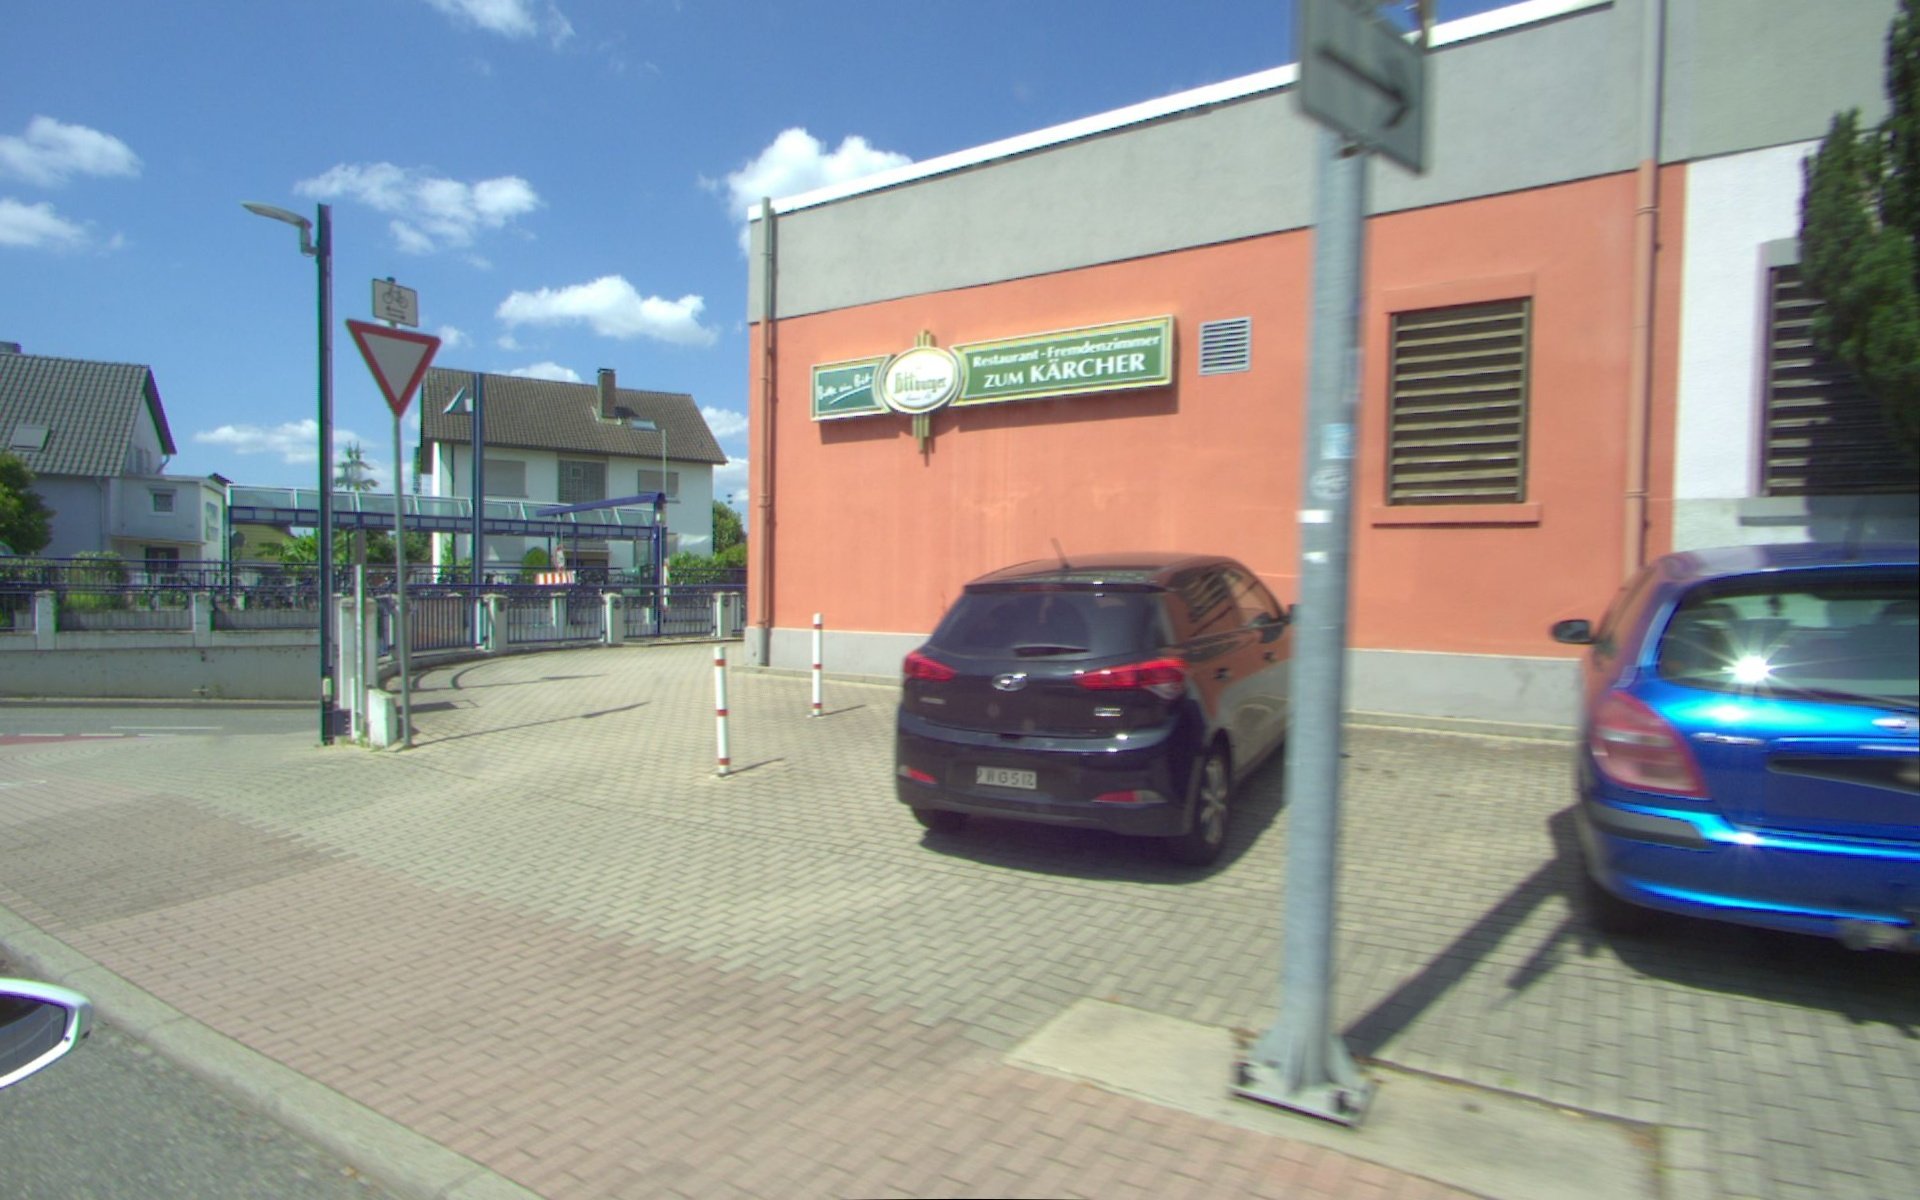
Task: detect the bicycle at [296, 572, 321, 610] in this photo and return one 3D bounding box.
[{"bbox_3d":[-17.838,-0.243,27.436,0.368,1.008,1.956,1,0,-27],"label":"bicycle"}]

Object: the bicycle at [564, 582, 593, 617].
[{"bbox_3d":[-11.458,-0.024,30.033,0.510,1.008,2.028,1,0,-29],"label":"bicycle"}]

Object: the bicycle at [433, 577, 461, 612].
[{"bbox_3d":[-15.187,-0.160,29.617,0.410,1.008,1.951,1,0,-36],"label":"bicycle"}]

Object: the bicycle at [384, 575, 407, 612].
[{"bbox_3d":[-16.329,-0.194,28.959,0.422,1.008,1.953,1,0,-33],"label":"bicycle"}]

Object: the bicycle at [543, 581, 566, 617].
[{"bbox_3d":[-11.873,-0.039,29.316,0.571,1.008,2.180,1,0,-23],"label":"bicycle"}]

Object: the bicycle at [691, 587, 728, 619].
[{"bbox_3d":[-8.173,0.079,32.578,0.538,1.008,2.026,1,0,-33],"label":"bicycle"}]

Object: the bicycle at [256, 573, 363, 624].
[{"bbox_3d":[-15.377,-0.032,23.704,2.097,1.141,0.389,2,0,-38],"label":"bicycle"}]

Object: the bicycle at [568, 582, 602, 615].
[{"bbox_3d":[-12.027,-0.061,32.098,0.514,1.008,1.951,1,0,-36],"label":"bicycle"}]

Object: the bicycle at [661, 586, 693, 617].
[{"bbox_3d":[-9.552,0.048,33.732,0.538,1.008,2.028,1,0,-30],"label":"bicycle"}]

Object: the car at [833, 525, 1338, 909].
[{"bbox_3d":[1.126,0.392,6.381,1.783,1.512,3.884,0,6,30],"label":"car"}]

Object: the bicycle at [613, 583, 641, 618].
[{"bbox_3d":[-10.240,0.013,30.782,0.509,1.008,2.029,1,0,-27],"label":"bicycle"}]

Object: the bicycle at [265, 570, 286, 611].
[{"bbox_3d":[-17.452,-0.243,25.525,0.329,1.008,2.059,1,0,-37],"label":"bicycle"}]

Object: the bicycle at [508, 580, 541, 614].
[{"bbox_3d":[-13.376,-0.105,30.731,0.514,1.008,1.951,1,0,-36],"label":"bicycle"}]

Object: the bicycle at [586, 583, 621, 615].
[{"bbox_3d":[-11.541,-0.046,32.422,0.514,1.008,1.951,1,0,-36],"label":"bicycle"}]

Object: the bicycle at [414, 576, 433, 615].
[{"bbox_3d":[-14.692,-0.125,27.452,0.430,1.008,2.270,1,0,-28],"label":"bicycle"}]

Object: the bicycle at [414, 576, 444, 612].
[{"bbox_3d":[-15.575,-0.172,29.346,0.469,1.008,1.951,1,0,-36],"label":"bicycle"}]

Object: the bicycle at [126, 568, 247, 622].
[{"bbox_3d":[-17.181,-0.088,22.297,2.097,1.141,0.330,2,0,-38],"label":"bicycle"}]

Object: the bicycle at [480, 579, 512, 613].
[{"bbox_3d":[-14.170,-0.127,30.563,0.514,1.008,1.788,1,0,-36],"label":"bicycle"}]

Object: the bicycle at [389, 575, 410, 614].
[{"bbox_3d":[-15.175,-0.140,27.133,0.430,1.008,2.270,1,0,-28],"label":"bicycle"}]

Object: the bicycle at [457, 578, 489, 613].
[{"bbox_3d":[-14.634,-0.142,30.063,0.514,1.008,1.951,1,0,-36],"label":"bicycle"}]

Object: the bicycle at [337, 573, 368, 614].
[{"bbox_3d":[-15.935,-0.165,26.289,0.430,1.008,2.094,1,0,-25],"label":"bicycle"}]

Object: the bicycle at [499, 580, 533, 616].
[{"bbox_3d":[-12.936,-0.068,29.145,0.527,1.008,2.173,1,0,-34],"label":"bicycle"}]

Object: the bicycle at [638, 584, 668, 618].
[{"bbox_3d":[-9.611,0.033,31.298,0.537,1.008,2.029,1,0,-27],"label":"bicycle"}]

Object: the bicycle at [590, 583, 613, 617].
[{"bbox_3d":[-10.921,-0.007,30.477,0.509,1.008,2.031,1,0,-24],"label":"bicycle"}]

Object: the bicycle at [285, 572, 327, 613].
[{"bbox_3d":[-16.663,-0.188,25.554,0.429,1.008,2.096,1,0,-20],"label":"bicycle"}]

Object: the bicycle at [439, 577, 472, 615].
[{"bbox_3d":[-14.025,-0.105,27.823,0.527,1.008,2.265,1,0,-34],"label":"bicycle"}]

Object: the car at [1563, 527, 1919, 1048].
[{"bbox_3d":[3.850,0.436,4.667,1.754,1.459,4.311,-2,2,31],"label":"car"}]

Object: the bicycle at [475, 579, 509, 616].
[{"bbox_3d":[-13.357,-0.083,28.555,0.527,1.008,2.173,1,0,-34],"label":"bicycle"}]

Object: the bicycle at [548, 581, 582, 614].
[{"bbox_3d":[-12.538,-0.077,31.769,0.514,1.008,1.951,1,0,-36],"label":"bicycle"}]

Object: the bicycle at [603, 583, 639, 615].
[{"bbox_3d":[-11.103,-0.033,32.749,0.514,1.008,1.951,1,0,-36],"label":"bicycle"}]

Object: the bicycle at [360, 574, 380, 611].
[{"bbox_3d":[-16.757,-0.208,28.463,0.368,1.008,1.956,1,0,-27],"label":"bicycle"}]

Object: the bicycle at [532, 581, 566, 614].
[{"bbox_3d":[-12.836,-0.088,31.227,0.514,1.008,1.951,1,0,-36],"label":"bicycle"}]

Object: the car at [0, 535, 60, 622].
[{"bbox_3d":[-22.350,-0.503,22.722,1.974,1.818,4.174,5,-4,-31],"label":"car"}]

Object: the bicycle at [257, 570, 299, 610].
[{"bbox_3d":[-18.317,-0.258,26.920,0.449,1.008,1.883,1,0,-20],"label":"bicycle"}]
